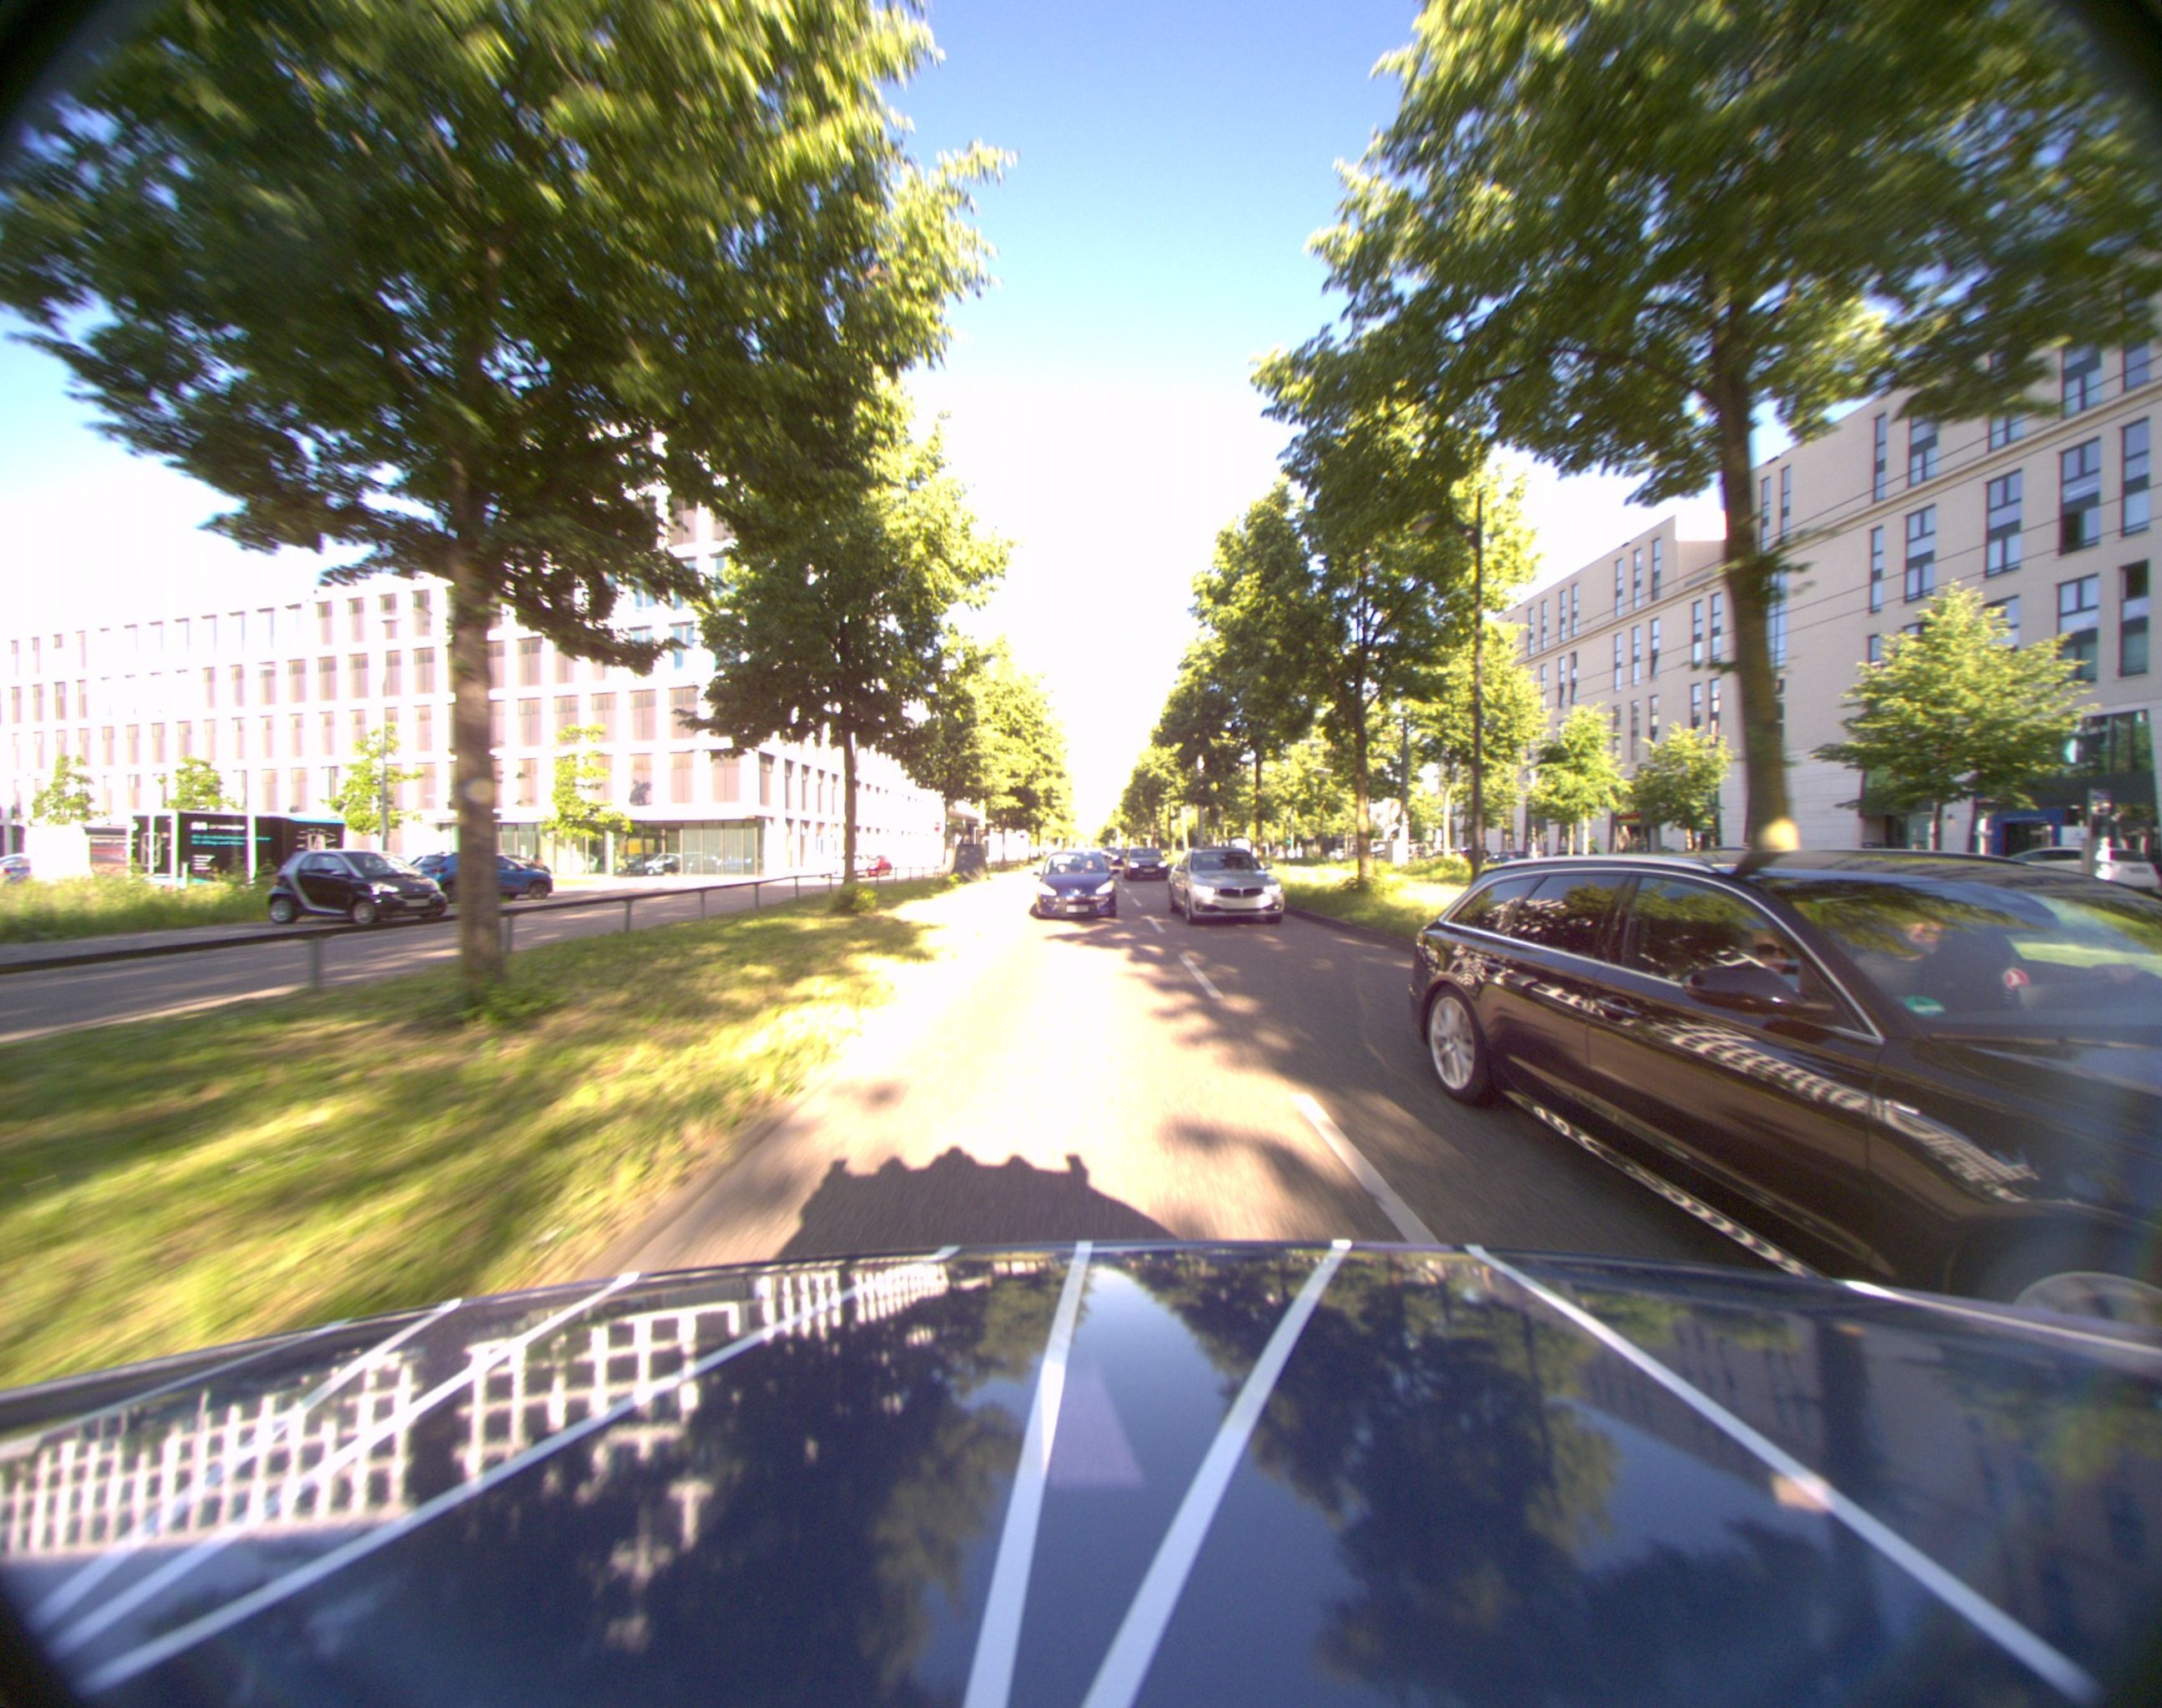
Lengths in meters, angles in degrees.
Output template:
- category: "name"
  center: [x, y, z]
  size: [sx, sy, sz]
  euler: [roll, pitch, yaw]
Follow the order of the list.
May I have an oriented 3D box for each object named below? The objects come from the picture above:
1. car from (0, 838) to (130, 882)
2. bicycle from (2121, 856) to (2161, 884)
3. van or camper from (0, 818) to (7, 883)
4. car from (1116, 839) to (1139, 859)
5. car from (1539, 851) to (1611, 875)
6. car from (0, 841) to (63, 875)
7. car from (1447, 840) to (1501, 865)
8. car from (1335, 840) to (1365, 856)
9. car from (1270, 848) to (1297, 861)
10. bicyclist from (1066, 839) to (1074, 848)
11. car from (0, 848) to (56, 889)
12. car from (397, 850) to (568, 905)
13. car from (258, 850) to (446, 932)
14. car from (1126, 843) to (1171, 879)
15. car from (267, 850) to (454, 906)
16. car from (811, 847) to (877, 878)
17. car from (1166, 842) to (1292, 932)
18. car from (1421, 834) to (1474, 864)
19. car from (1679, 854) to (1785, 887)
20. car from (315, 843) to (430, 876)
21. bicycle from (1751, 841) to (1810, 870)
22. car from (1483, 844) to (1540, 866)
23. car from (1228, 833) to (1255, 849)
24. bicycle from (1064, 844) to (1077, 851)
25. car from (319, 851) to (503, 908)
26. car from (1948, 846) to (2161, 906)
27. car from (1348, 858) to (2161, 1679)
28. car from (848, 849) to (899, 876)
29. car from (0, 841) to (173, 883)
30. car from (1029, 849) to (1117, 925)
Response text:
- category: "car"
  center: [-40.494, 0.253, 29.496]
  size: [1.996, 1.608, 4.005]
  euler: [-2, -1, 17]
- category: "bicycle"
  center: [38.925, 0.571, 27.336]
  size: [0.581, 0.948, 1.848]
  euler: [-2, 1, 3]
- category: "van or camper"
  center: [-49.278, -0.036, 30.988]
  size: [1.996, 2.876, 5.855]
  euler: [-2, 1, 13]
- category: "car"
  center: [3.903, -0.418, 64.416]
  size: [1.782, 1.571, 3.783]
  euler: [-2, 1, 1]
- category: "car"
  center: [32.153, 0.556, 49.634]
  size: [1.728, 1.405, 4.336]
  euler: [0, 1, -2]
- category: "car"
  center: [-44.071, 0.182, 30.155]
  size: [1.731, 1.344, 4.005]
  euler: [-2, -1, 17]
- category: "car"
  center: [32.262, -0.159, 62.590]
  size: [1.999, 2.002, 4.553]
  euler: [0, 1, -2]
- category: "car"
  center: [34.031, -0.775, 96.214]
  size: [2.106, 1.798, 4.419]
  euler: [-2, 1, -1]
- category: "car"
  center: [24.333, 0.084, 91.629]
  size: [1.999, 1.433, 4.454]
  euler: [-2, 1, -1]
- category: "bicyclist"
  center: [-1.612, -1.477, 109.758]
  size: [1.086, 1.315, 0.639]
  euler: [0, 1, 4]
- category: "car"
  center: [-46.283, 0.611, 31.512]
  size: [1.996, 1.718, 4.004]
  euler: [0, 1, 15]
- category: "car"
  center: [-18.175, 0.673, 23.287]
  size: [1.594, 1.536, 3.826]
  euler: [1, 0, 21]
- category: "car"
  center: [-15.243, 0.728, 15.948]
  size: [2.770, 1.541, 1.463]
  euler: [1, 2, 10]
- category: "car"
  center: [3.103, 0.262, 35.625]
  size: [1.950, 1.514, 4.000]
  euler: [-2, 1, 3]
- category: "car"
  center: [-23.065, 0.715, 24.530]
  size: [1.719, 1.531, 3.956]
  euler: [-1, 1, 20]
- category: "car"
  center: [-13.143, 0.430, 42.463]
  size: [1.998, 1.477, 4.402]
  euler: [3, 1, 4]
- category: "car"
  center: [2.928, 0.572, 15.952]
  size: [1.886, 1.569, 4.277]
  euler: [-2, 1, 1]
- category: "car"
  center: [26.116, -0.395, 54.300]
  size: [1.998, 2.002, 4.000]
  euler: [-2, 1, 4]
- category: "car"
  center: [31.741, 0.772, 37.222]
  size: [1.562, 1.471, 4.270]
  euler: [-1, 1, 0]
- category: "car"
  center: [-37.838, 0.245, 40.713]
  size: [1.996, 1.587, 4.004]
  euler: [-2, 1, 17]
- category: "bicycle"
  center: [38.698, 0.060, 42.115]
  size: [0.619, 1.537, 3.034]
  euler: [-2, 1, 3]
- category: "car"
  center: [32.367, 0.044, 57.298]
  size: [1.999, 1.563, 3.999]
  euler: [0, 1, -1]
- category: "car"
  center: [24.340, -1.948, 115.572]
  size: [2.512, 2.368, 6.026]
  euler: [-2, 1, -2]
- category: "bicycle"
  center: [-1.516, -0.929, 109.745]
  size: [1.927, 0.899, 0.647]
  euler: [0, 1, 4]
- category: "car"
  center: [-20.839, 0.735, 23.839]
  size: [1.748, 1.527, 3.886]
  euler: [-1, 1, 20]
- category: "car"
  center: [31.920, 0.635, 24.922]
  size: [1.999, 1.719, 4.337]
  euler: [-2, 1, -1]
- category: "car"
  center: [2.915, 0.760, 2.875]
  size: [1.958, 1.472, 5.084]
  euler: [0, 0, -1]
- category: "car"
  center: [-12.834, 0.474, 47.216]
  size: [1.869, 1.477, 4.272]
  euler: [2, 1, 1]
- category: "car"
  center: [-37.667, 0.309, 28.478]
  size: [1.829, 1.465, 4.279]
  euler: [-1, -1, 17]
- category: "car"
  center: [-0.086, 0.673, 17.658]
  size: [1.766, 1.463, 4.000]
  euler: [-2, 1, 2]
